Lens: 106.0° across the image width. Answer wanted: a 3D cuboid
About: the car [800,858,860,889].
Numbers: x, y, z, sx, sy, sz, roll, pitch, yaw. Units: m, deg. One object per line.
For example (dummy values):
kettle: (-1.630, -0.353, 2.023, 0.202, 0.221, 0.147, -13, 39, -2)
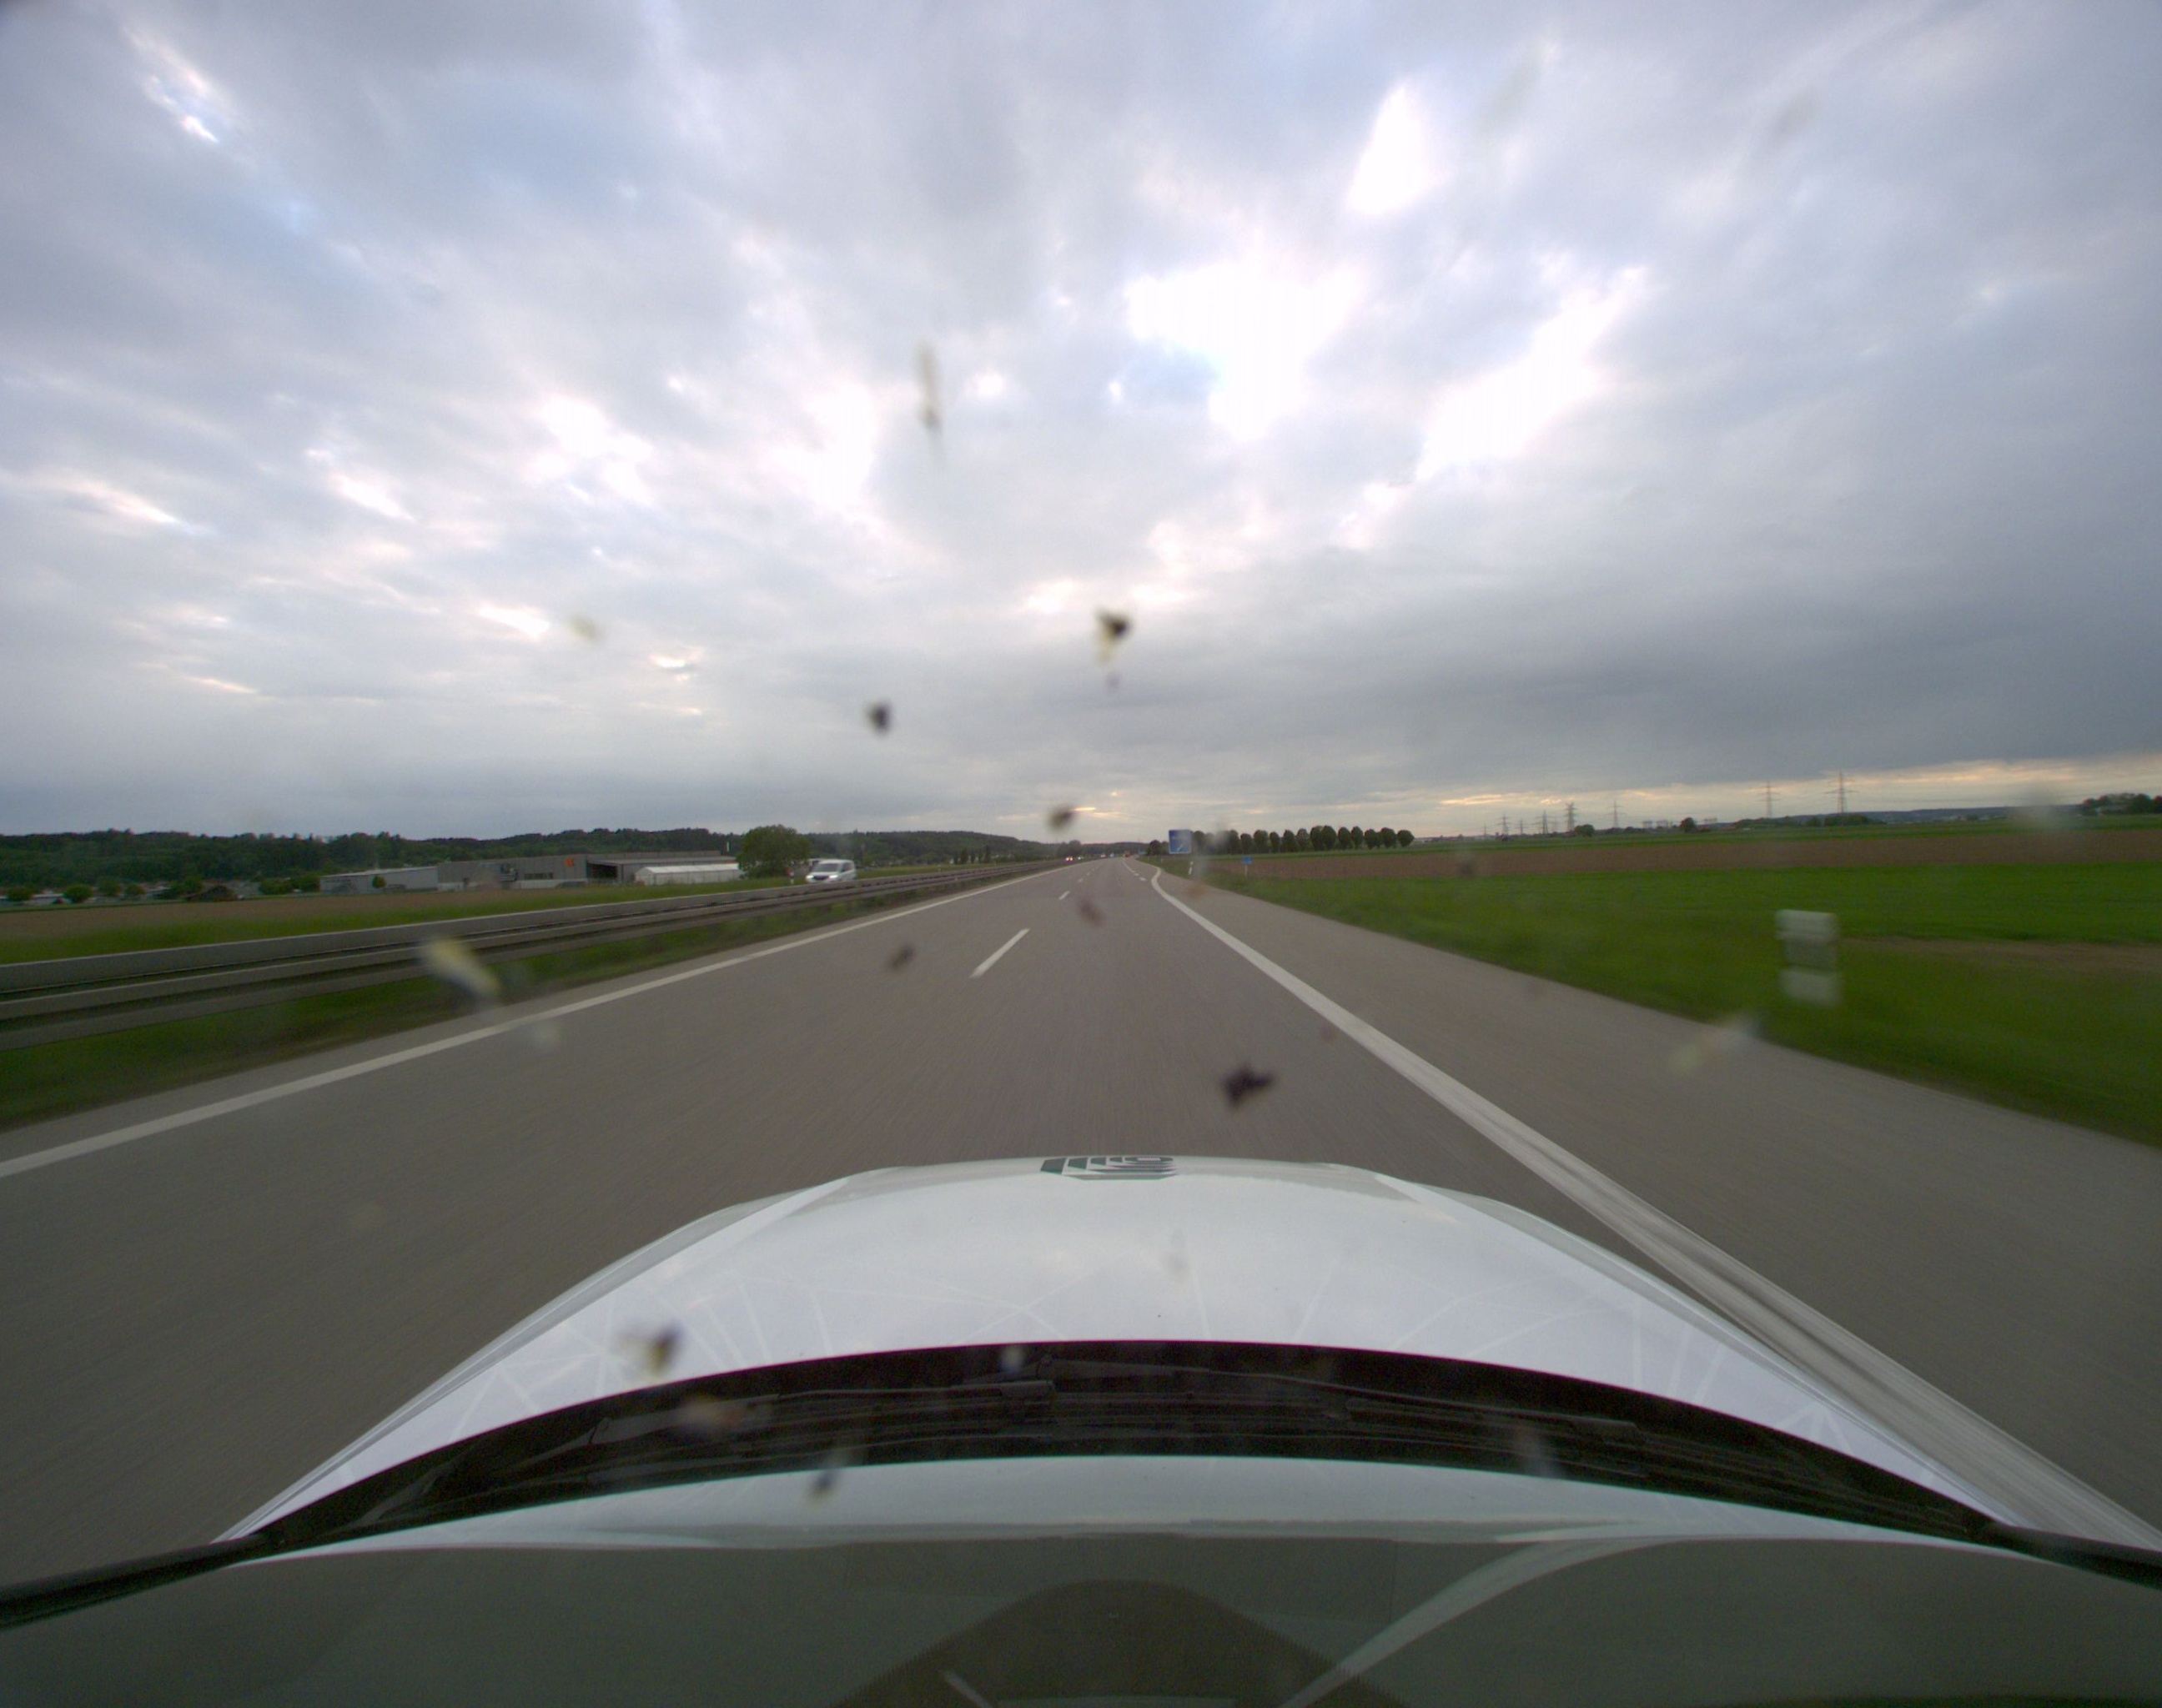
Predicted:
car: (-15.267, 1.148, 49.826, 1.986, 1.765, 4.953, -1, 0, 1)
